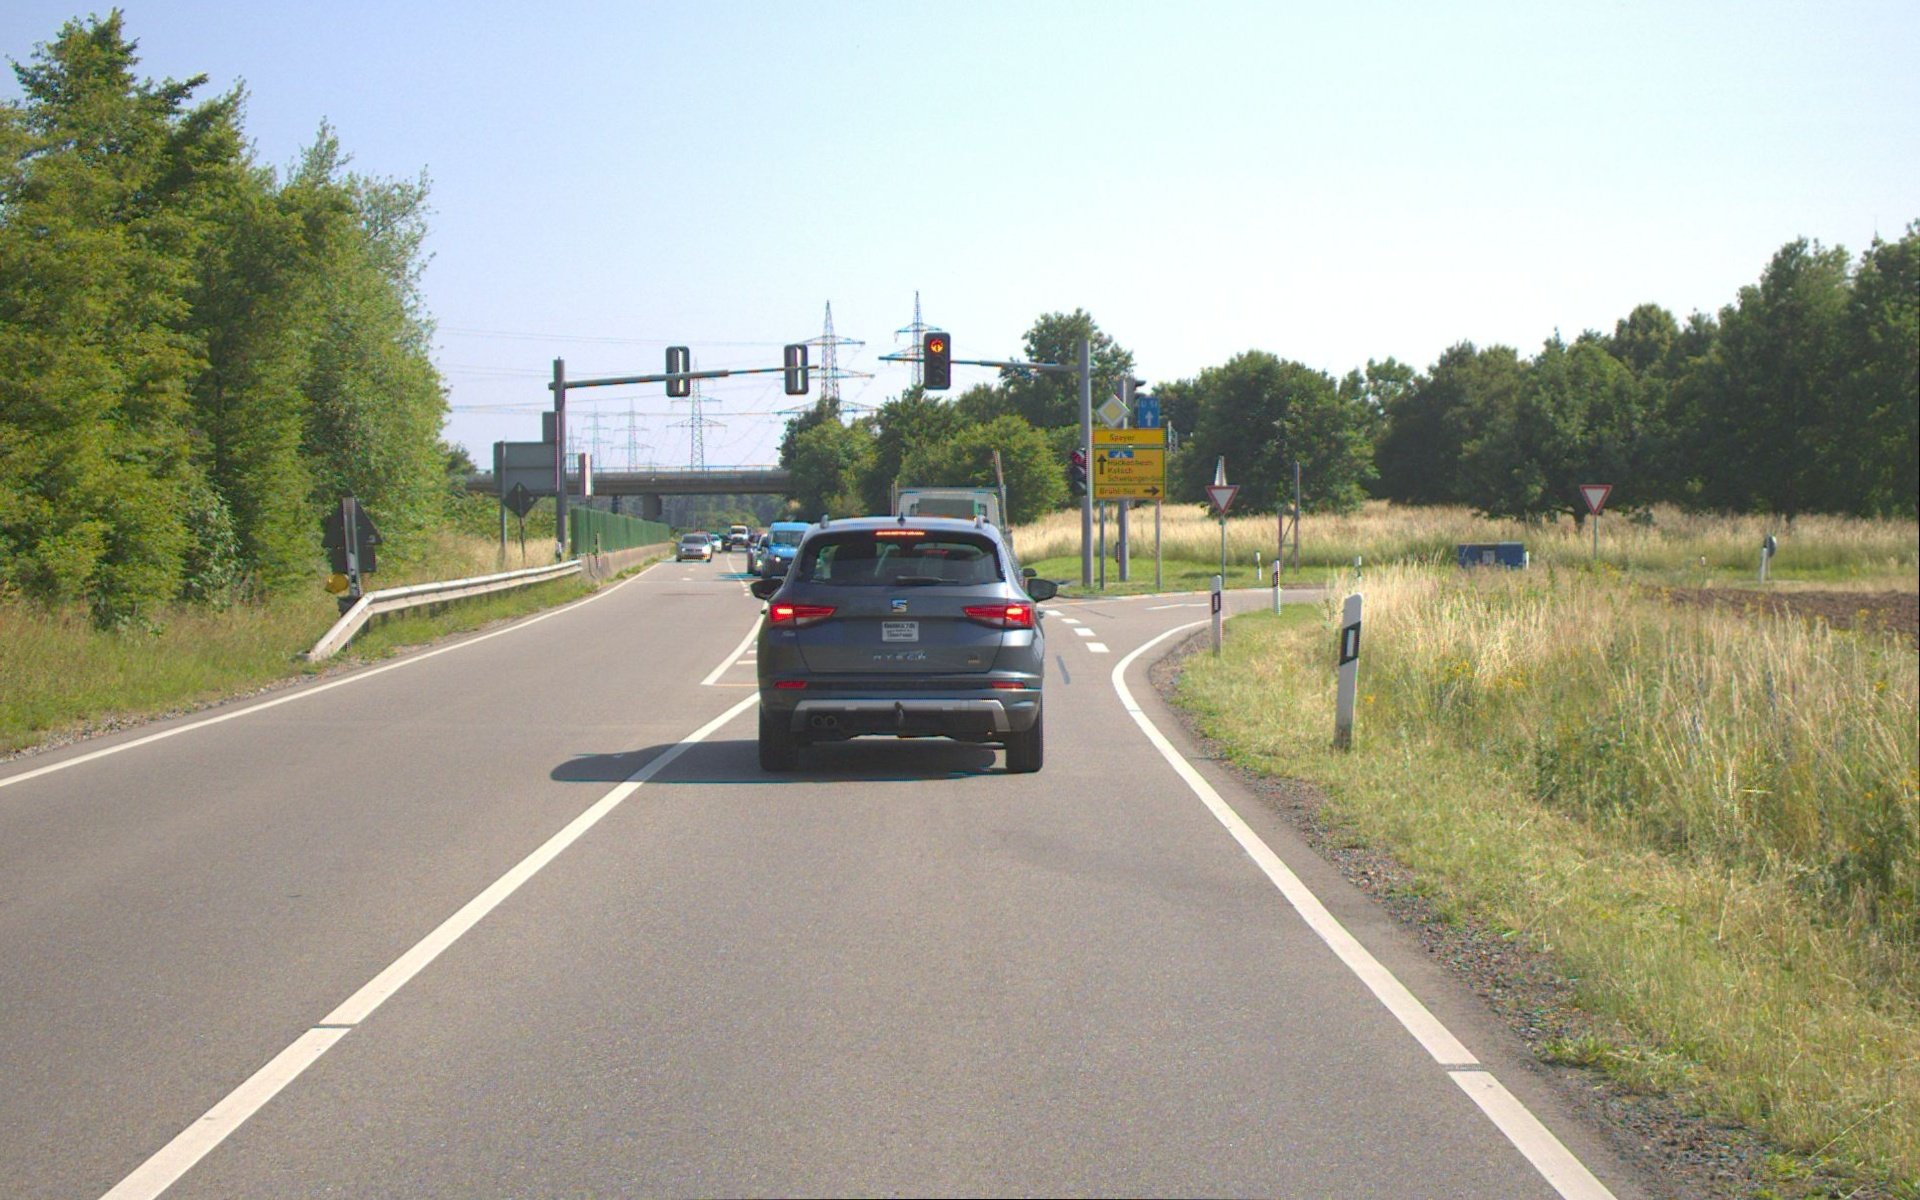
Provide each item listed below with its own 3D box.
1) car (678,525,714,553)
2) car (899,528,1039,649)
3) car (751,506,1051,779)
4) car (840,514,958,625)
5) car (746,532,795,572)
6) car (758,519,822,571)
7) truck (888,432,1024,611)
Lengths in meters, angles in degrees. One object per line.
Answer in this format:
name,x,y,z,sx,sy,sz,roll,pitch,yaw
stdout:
car,-13.719,-3.165,178.398,1.824,1.426,4.001,-1,1,-5
car,0.078,-0.195,46.733,1.785,1.538,4.001,0,2,-1
car,-0.398,0.198,22.606,1.785,1.623,4.001,0,2,-1
car,-0.975,-0.512,54.407,1.785,1.670,4.001,0,2,-1
car,-6.803,-1.739,123.229,1.684,1.375,3.534,0,2,-4
car,-5.260,-1.704,106.067,1.816,1.535,4.001,-1,1,-5
truck,-0.077,-1.387,62.024,2.337,3.055,5.810,0,1,0
